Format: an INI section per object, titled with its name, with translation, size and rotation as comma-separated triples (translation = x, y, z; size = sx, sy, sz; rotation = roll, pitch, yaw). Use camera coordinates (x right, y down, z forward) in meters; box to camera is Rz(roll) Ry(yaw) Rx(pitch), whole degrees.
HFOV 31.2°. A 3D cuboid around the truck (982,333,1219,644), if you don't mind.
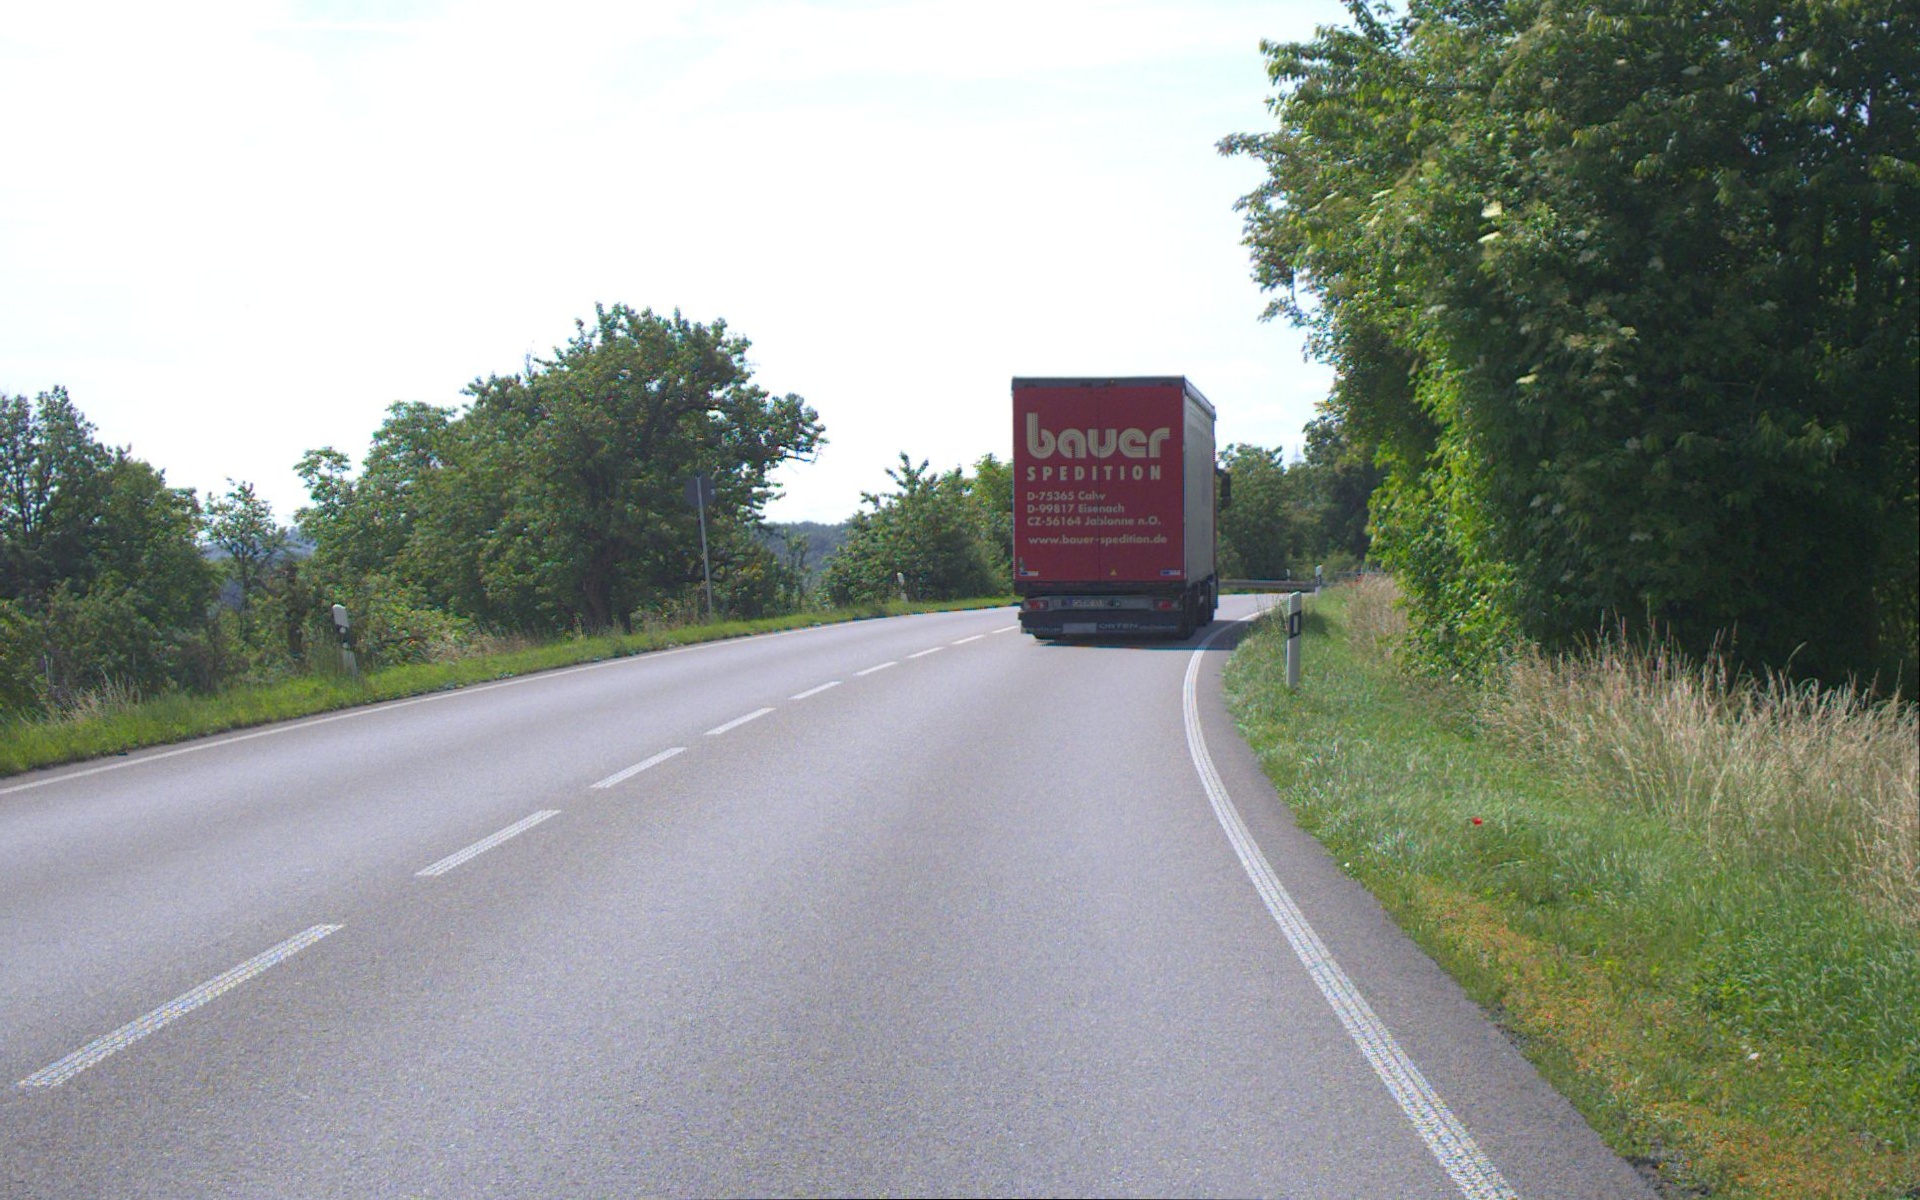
[truck]
translation = 2.497, -1.630, 56.044
size = 3.113, 4.490, 12.164
rotation = 1, 0, 6
